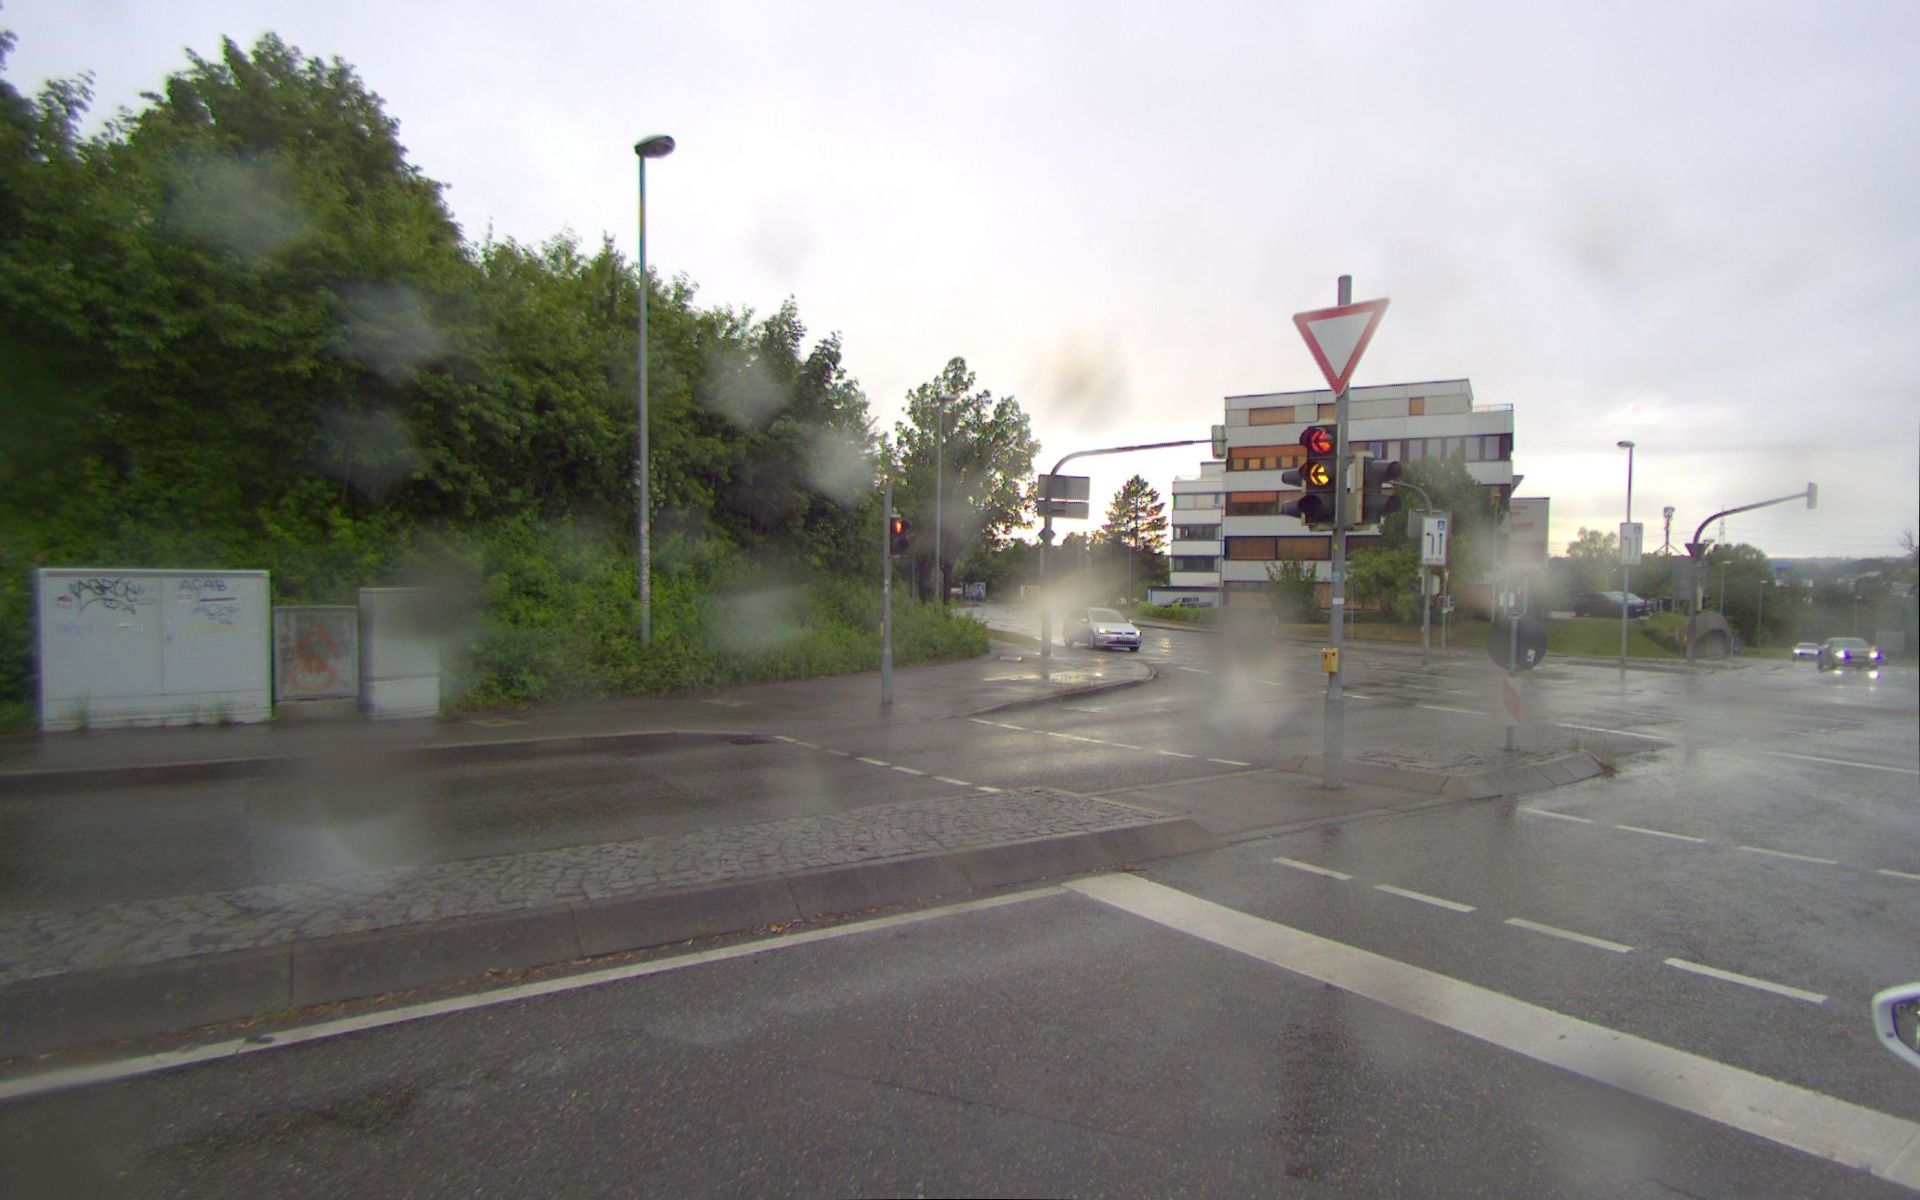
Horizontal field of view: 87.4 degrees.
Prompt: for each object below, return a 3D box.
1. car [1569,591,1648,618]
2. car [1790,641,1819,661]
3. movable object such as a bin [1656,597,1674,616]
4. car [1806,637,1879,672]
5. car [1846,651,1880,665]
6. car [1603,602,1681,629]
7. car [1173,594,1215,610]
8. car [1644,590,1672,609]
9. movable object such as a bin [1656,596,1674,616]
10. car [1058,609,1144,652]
[{"bbox_3d":[42.435,0.292,65.798,1.874,1.607,3.981,4,0,-21],"label":"car"},{"bbox_3d":[69.109,4.194,82.188,1.701,1.514,3.979,2,-1,42],"label":"car"},{"bbox_3d":[56.562,0.517,80.596,1.069,1.456,1.443,3,0,34],"label":"movable object such as a bin"},{"bbox_3d":[42.016,2.567,47.910,1.636,1.514,3.995,2,-1,27],"label":"car"},{"bbox_3d":[106.052,6.756,117.942,3.954,1.475,1.888,1,1,-31],"label":"car"},{"bbox_3d":[45.200,1.020,66.653,1.872,1.607,3.985,4,0,-17],"label":"car"},{"bbox_3d":[22.396,0.204,96.210,3.686,1.418,2.000,1,1,19],"label":"car"},{"bbox_3d":[61.179,-0.023,88.096,1.802,1.461,3.990,3,-1,33],"label":"car"},{"bbox_3d":[55.724,0.486,79.378,1.069,1.456,1.443,3,0,34],"label":"movable object such as a bin"},{"bbox_3d":[5.051,1.066,36.614,1.731,1.381,4.523,2,0,-11],"label":"car"}]
